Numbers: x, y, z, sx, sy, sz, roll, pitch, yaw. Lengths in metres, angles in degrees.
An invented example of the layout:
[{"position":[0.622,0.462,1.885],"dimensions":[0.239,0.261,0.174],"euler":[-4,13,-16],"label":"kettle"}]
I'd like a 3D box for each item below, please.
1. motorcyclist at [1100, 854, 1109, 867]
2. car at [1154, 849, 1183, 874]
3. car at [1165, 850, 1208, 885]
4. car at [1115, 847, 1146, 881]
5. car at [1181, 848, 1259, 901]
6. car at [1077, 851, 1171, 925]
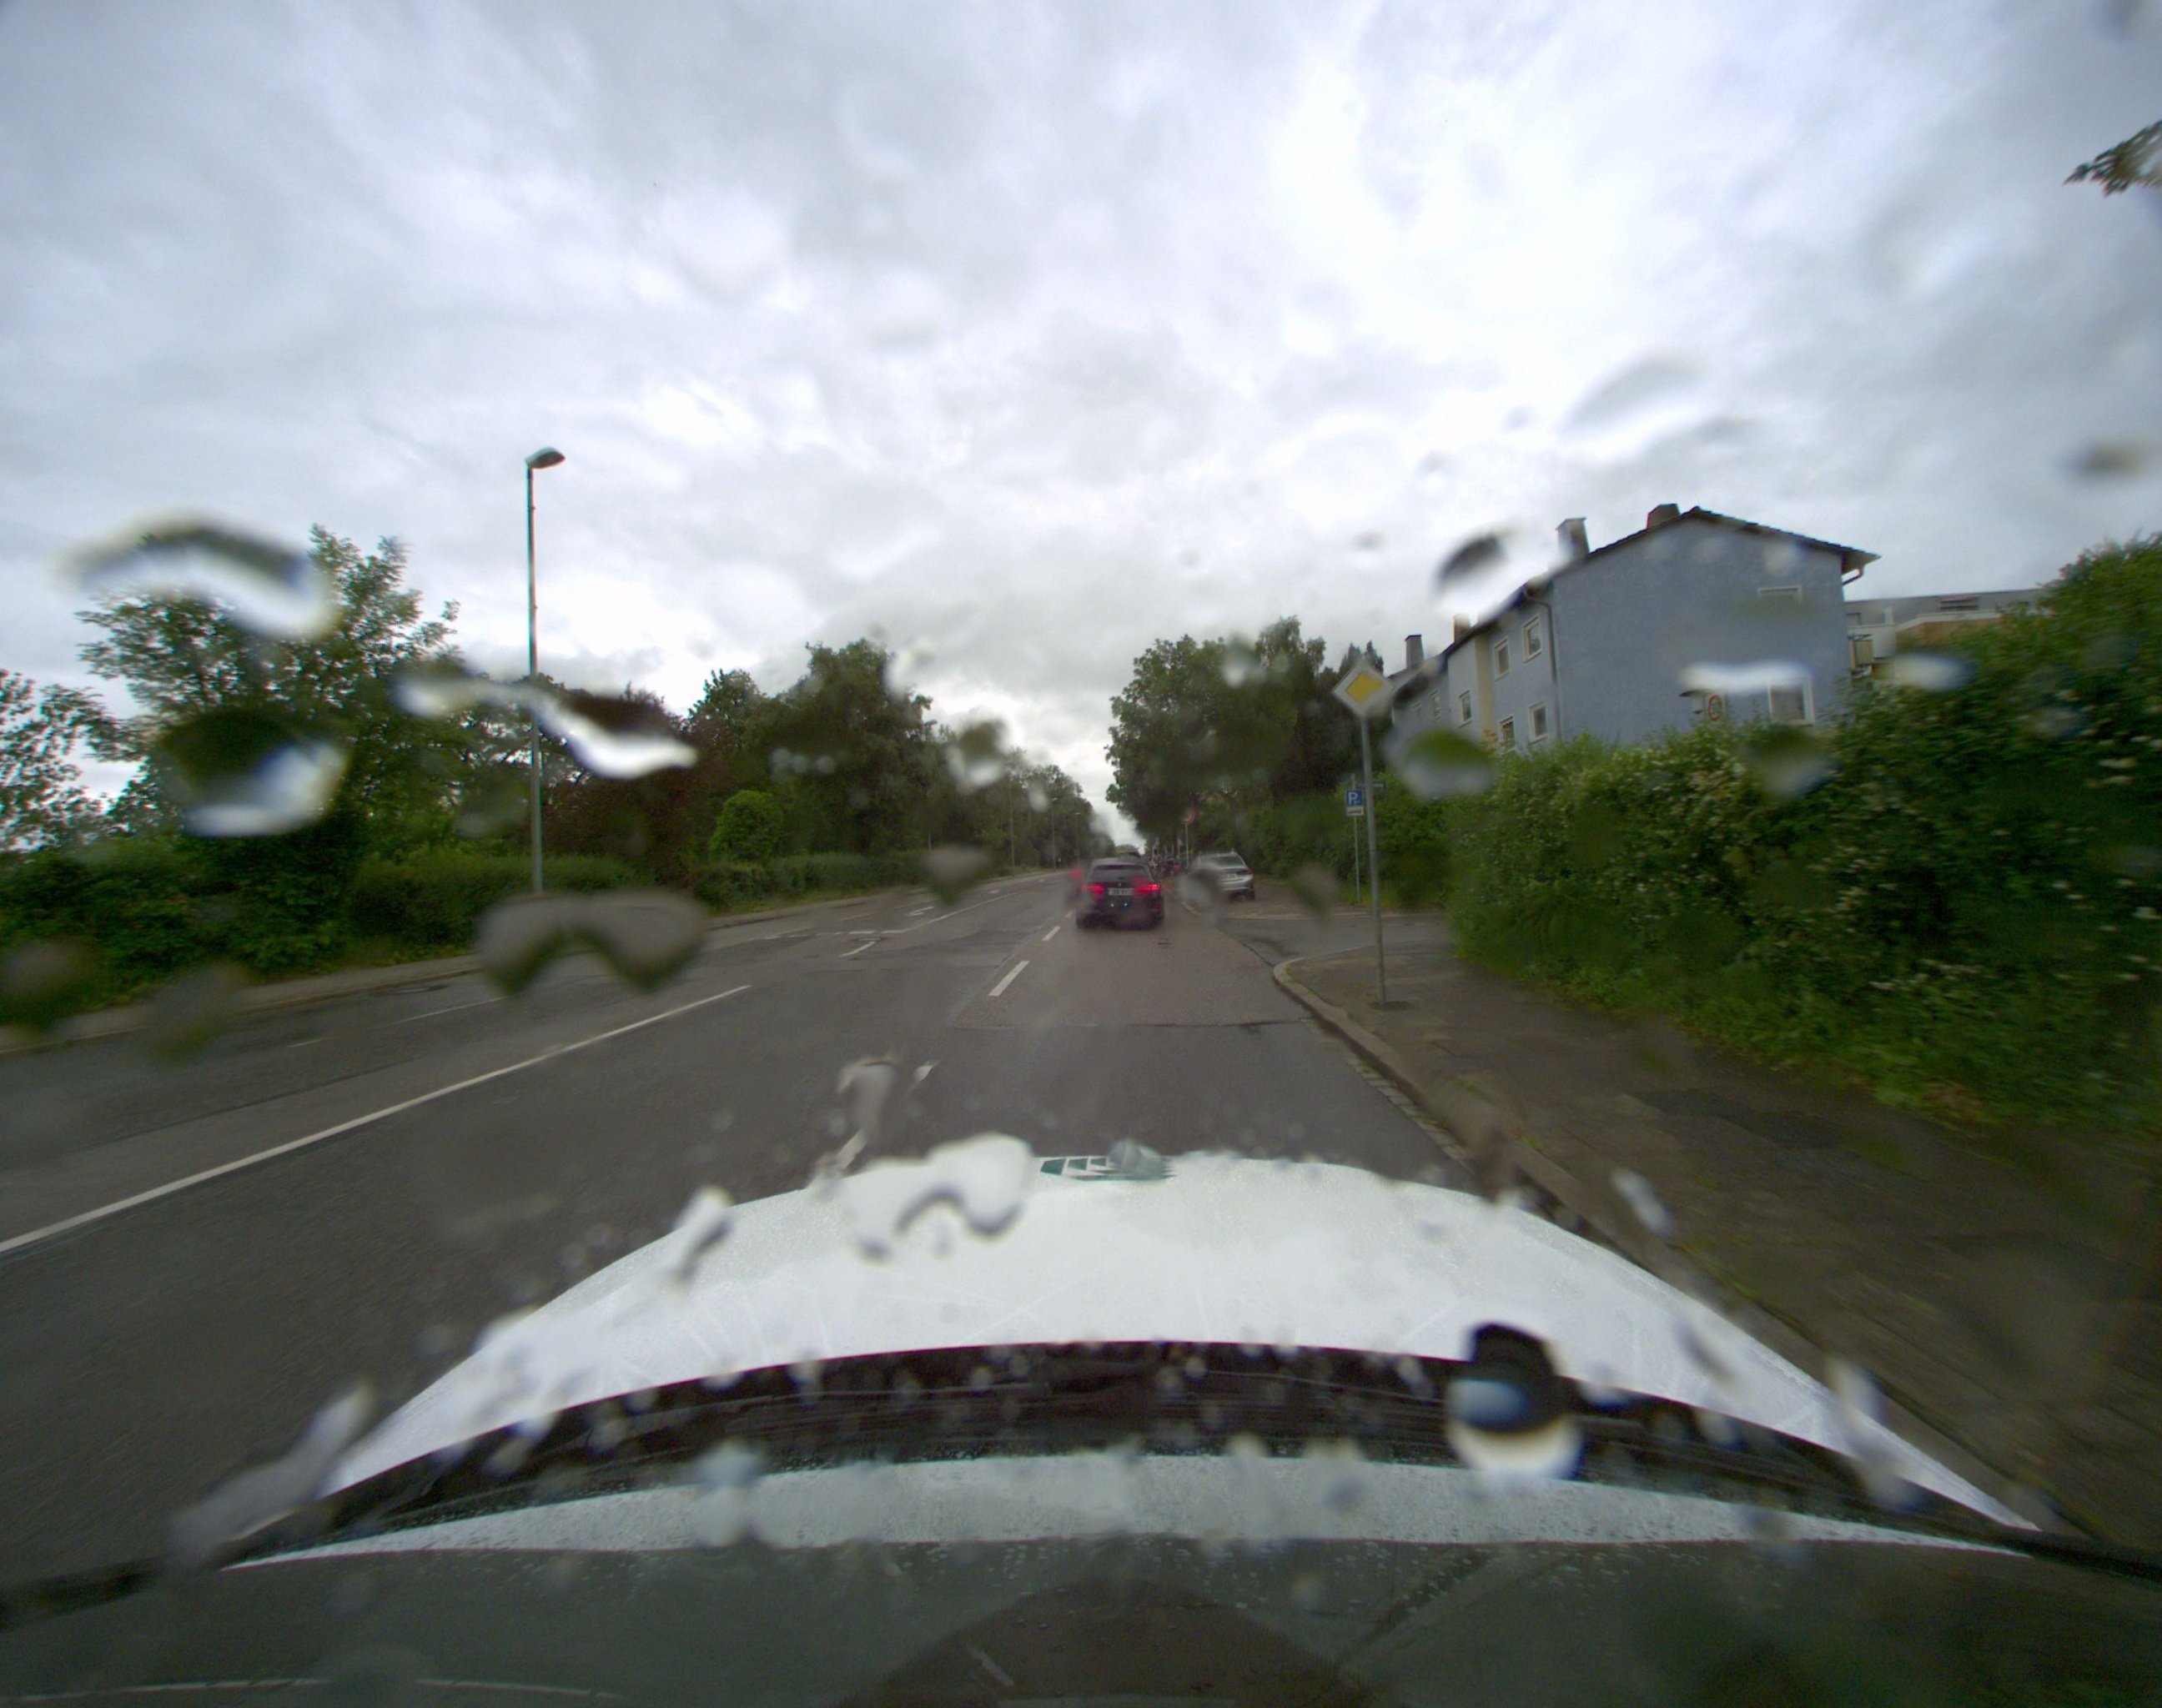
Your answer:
[{"position":[2.772,0.738,97.282],"dimensions":[1.036,1.567,0.855],"euler":[0,-1,1],"label":"motorcyclist"},{"position":[5.461,0.439,51.130],"dimensions":[1.583,1.486,3.564],"euler":[-2,0,2],"label":"car"},{"position":[4.799,0.593,37.452],"dimensions":[1.583,1.460,3.564],"euler":[-2,0,2],"label":"car"},{"position":[2.888,0.568,48.041],"dimensions":[1.623,1.833,4.001],"euler":[-3,0,1],"label":"car"},{"position":[4.225,0.578,25.339],"dimensions":[1.927,1.442,4.413],"euler":[-2,0,4],"label":"car"},{"position":[0.957,0.669,18.420],"dimensions":[1.889,1.489,4.003],"euler":[0,0,2],"label":"car"}]
